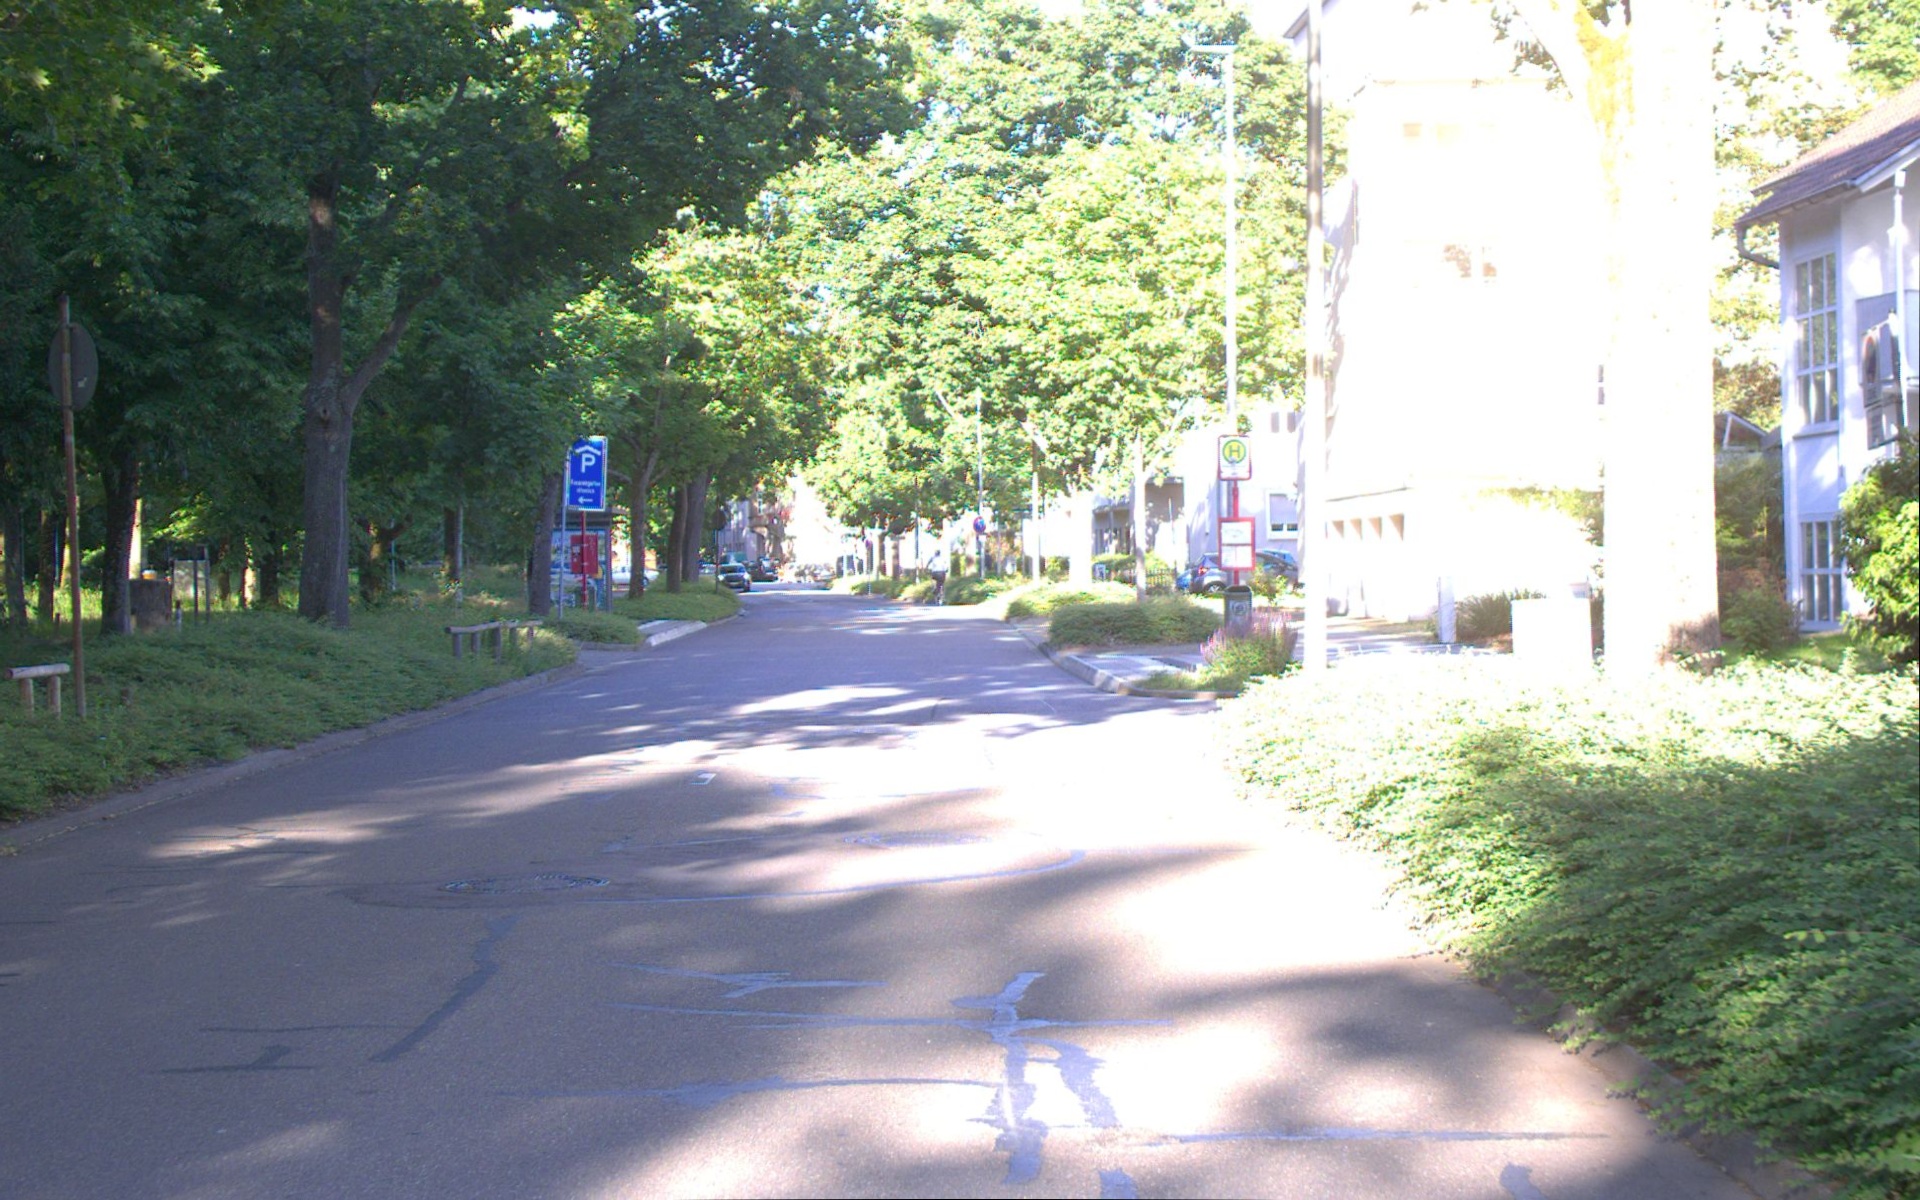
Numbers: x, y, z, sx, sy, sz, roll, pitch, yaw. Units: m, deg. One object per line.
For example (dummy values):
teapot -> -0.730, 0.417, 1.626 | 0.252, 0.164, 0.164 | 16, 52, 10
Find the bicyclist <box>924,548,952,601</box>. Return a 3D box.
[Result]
bicyclist -> -0.707, -0.808, 109.081 | 0.867, 1.635, 1.115 | 1, 2, -1

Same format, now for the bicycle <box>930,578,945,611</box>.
bicycle -> -0.708, -0.174, 109.084 | 0.439, 0.975, 1.661 | -1, 2, -1

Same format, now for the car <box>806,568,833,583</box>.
car -> -9.709, -1.696, 237.283 | 1.838, 0.988, 3.820 | 1, 1, -2

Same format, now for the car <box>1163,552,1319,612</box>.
car -> 8.064, -0.531, 98.492 | 4.351, 1.349, 2.143 | 3, 4, 6

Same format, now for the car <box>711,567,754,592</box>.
car -> -12.889, -1.153, 194.616 | 1.993, 1.349, 3.541 | 1, 1, -10
